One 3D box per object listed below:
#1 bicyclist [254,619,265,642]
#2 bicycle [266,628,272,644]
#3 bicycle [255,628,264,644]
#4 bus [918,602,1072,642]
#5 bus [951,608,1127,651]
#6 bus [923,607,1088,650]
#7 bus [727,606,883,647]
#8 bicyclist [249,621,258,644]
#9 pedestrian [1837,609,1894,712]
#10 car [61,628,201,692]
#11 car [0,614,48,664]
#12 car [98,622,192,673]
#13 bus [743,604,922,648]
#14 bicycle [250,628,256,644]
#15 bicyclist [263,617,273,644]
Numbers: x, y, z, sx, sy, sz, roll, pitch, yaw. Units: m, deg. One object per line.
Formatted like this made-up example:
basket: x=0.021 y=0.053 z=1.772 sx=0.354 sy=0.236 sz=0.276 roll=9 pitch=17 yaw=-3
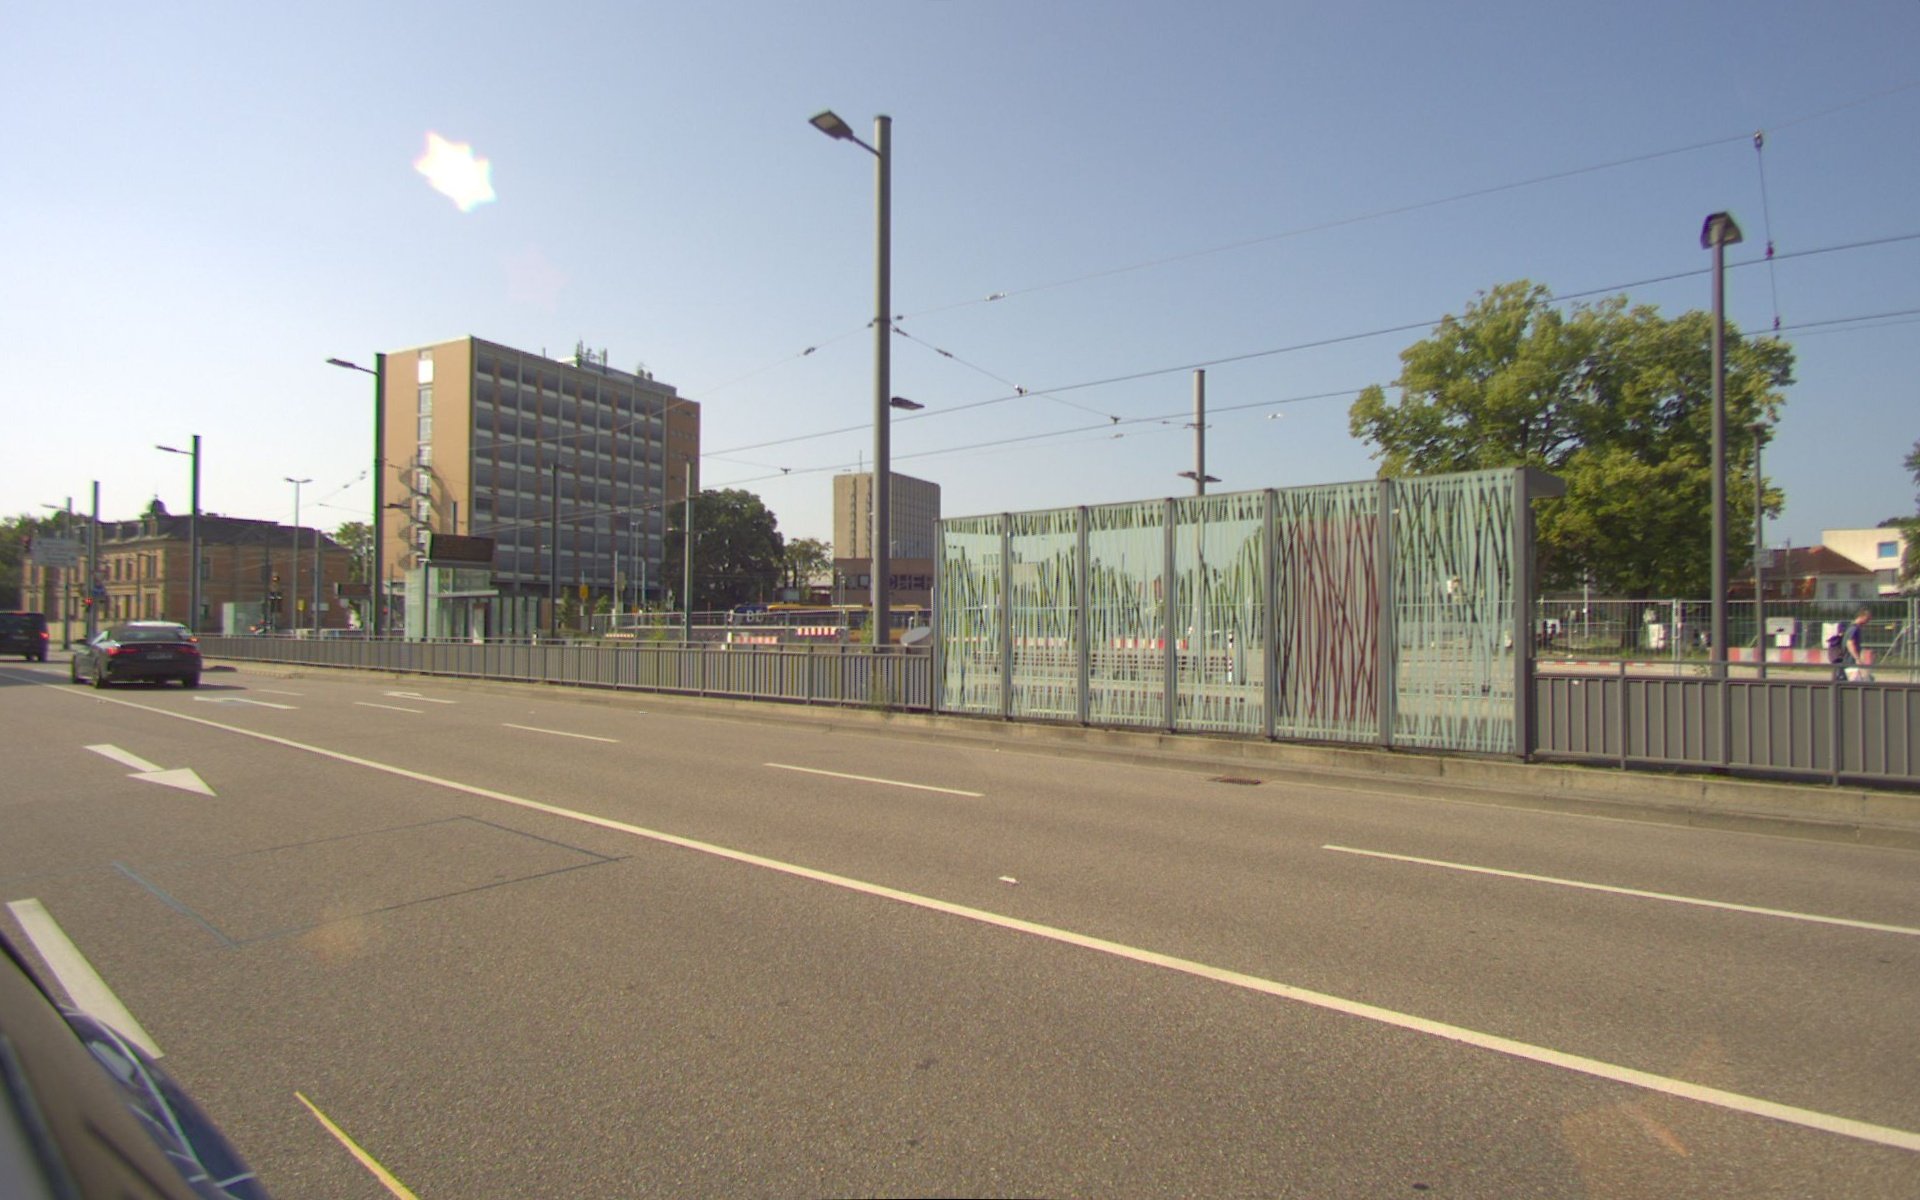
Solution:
bicyclist: x=-49.676 y=2.173 z=71.734 sx=0.579 sy=1.669 sz=0.792 roll=2 pitch=-3 yaw=-38
bicycle: x=-50.898 y=2.657 z=74.547 sx=0.371 sy=1.174 sz=1.864 roll=1 pitch=-3 yaw=-34
bicycle: x=-49.674 y=2.576 z=71.735 sx=0.396 sy=1.118 sz=1.750 roll=2 pitch=-3 yaw=-38
bus: x=2.973 y=1.952 z=88.702 sx=13.112 sy=3.445 sz=3.229 roll=0 pitch=-2 yaw=-5
bus: x=6.032 y=2.282 z=78.083 sx=13.111 sy=3.203 sz=3.229 roll=0 pitch=-2 yaw=-5
bus: x=3.659 y=2.325 z=82.688 sx=13.112 sy=3.445 sz=3.229 roll=0 pitch=-2 yaw=-5
bus: x=-13.226 y=2.316 z=87.253 sx=13.112 sy=3.445 sz=3.229 roll=0 pitch=-2 yaw=-5
bicyclist: x=-51.306 y=2.363 z=73.472 sx=0.503 sy=1.642 sz=0.809 roll=1 pitch=-3 yaw=-35
pedestrian: x=15.429 y=1.015 z=17.252 sx=0.664 sy=1.713 sz=0.512 roll=-2 pitch=-3 yaw=40
car: x=-19.063 y=1.329 z=23.200 sx=4.518 sy=1.341 sz=1.695 roll=-1 pitch=-4 yaw=41
car: x=-38.132 y=1.546 z=40.373 sx=4.713 sy=1.919 sz=1.973 roll=-1 pitch=-4 yaw=41
car: x=-28.046 y=1.615 z=34.775 sx=4.502 sy=1.624 sz=1.695 roll=-1 pitch=-4 yaw=41
bus: x=-9.565 y=1.984 z=76.623 sx=13.111 sy=3.203 sz=3.229 roll=0 pitch=-2 yaw=-6
bicycle: x=-51.363 y=2.597 z=73.504 sx=0.306 sy=1.174 sz=1.503 roll=1 pitch=-3 yaw=-34
bicyclist: x=-51.001 y=2.245 z=74.616 sx=0.571 sy=1.989 sz=0.809 roll=1 pitch=-3 yaw=-35
